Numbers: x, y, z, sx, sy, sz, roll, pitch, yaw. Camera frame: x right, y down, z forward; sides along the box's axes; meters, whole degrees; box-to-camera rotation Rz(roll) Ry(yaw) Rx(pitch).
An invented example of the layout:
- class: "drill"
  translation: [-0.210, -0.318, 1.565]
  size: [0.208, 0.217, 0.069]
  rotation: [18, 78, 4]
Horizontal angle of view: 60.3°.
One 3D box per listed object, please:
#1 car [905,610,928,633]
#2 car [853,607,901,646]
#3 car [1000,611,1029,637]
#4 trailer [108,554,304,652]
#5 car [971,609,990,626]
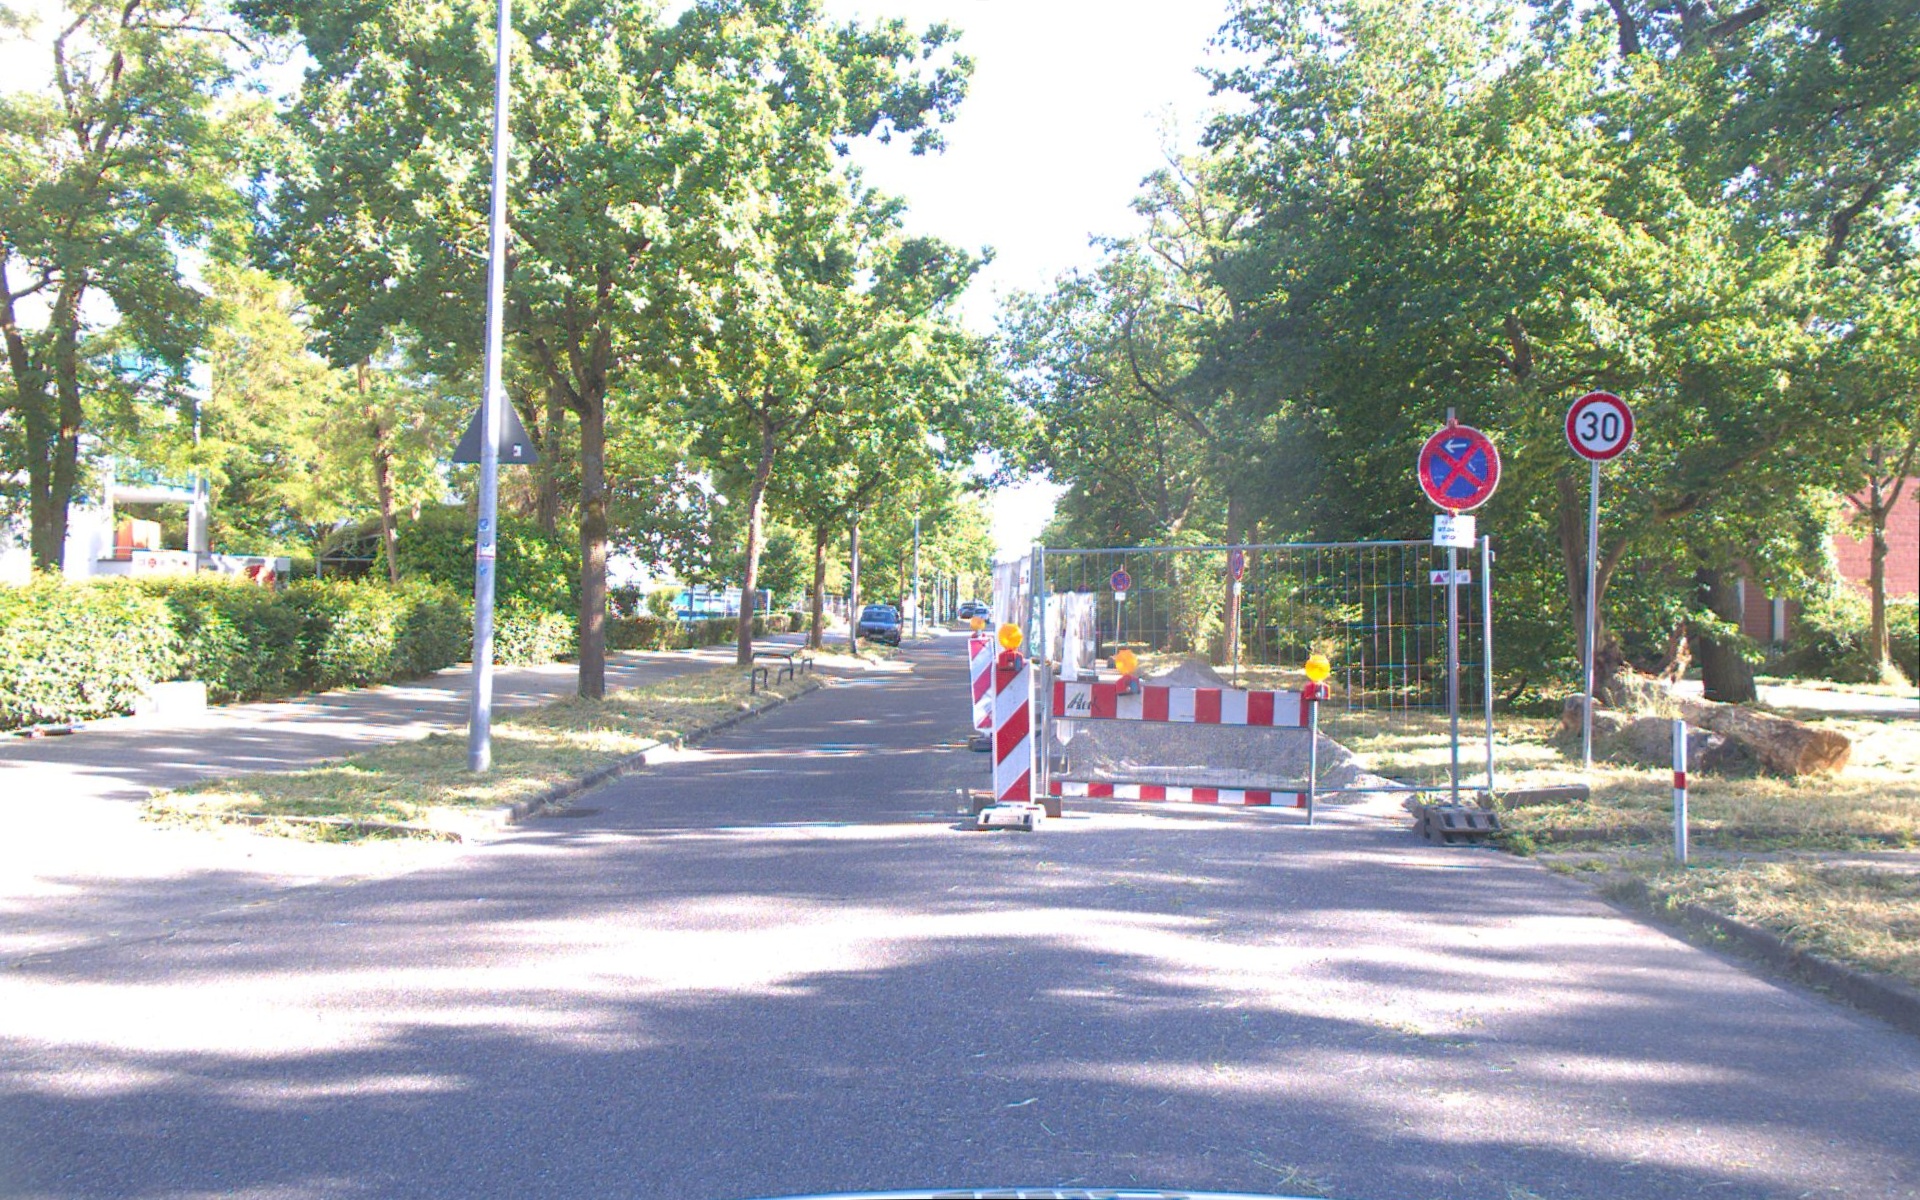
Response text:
- class: "car"
  translation: [-2.644, 1.345, 102.080]
  size: [1.334, 1.325, 3.480]
  rotation: [2, -1, -1]
- class: "car"
  translation: [-3.336, 1.036, 66.839]
  size: [1.715, 1.504, 3.836]
  rotation: [1, 0, 0]
- class: "car"
  translation: [2.931, 1.304, 89.418]
  size: [1.334, 1.325, 3.480]
  rotation: [2, -1, -1]
- class: "trailer"
  translation: [-17.062, 0.066, 37.707]
  size: [1.934, 2.078, 4.433]
  rotation: [1, 0, 8]
- class: "car"
  translation: [2.091, 1.818, 169.827]
  size: [1.676, 1.613, 3.998]
  rotation: [2, -1, -2]
